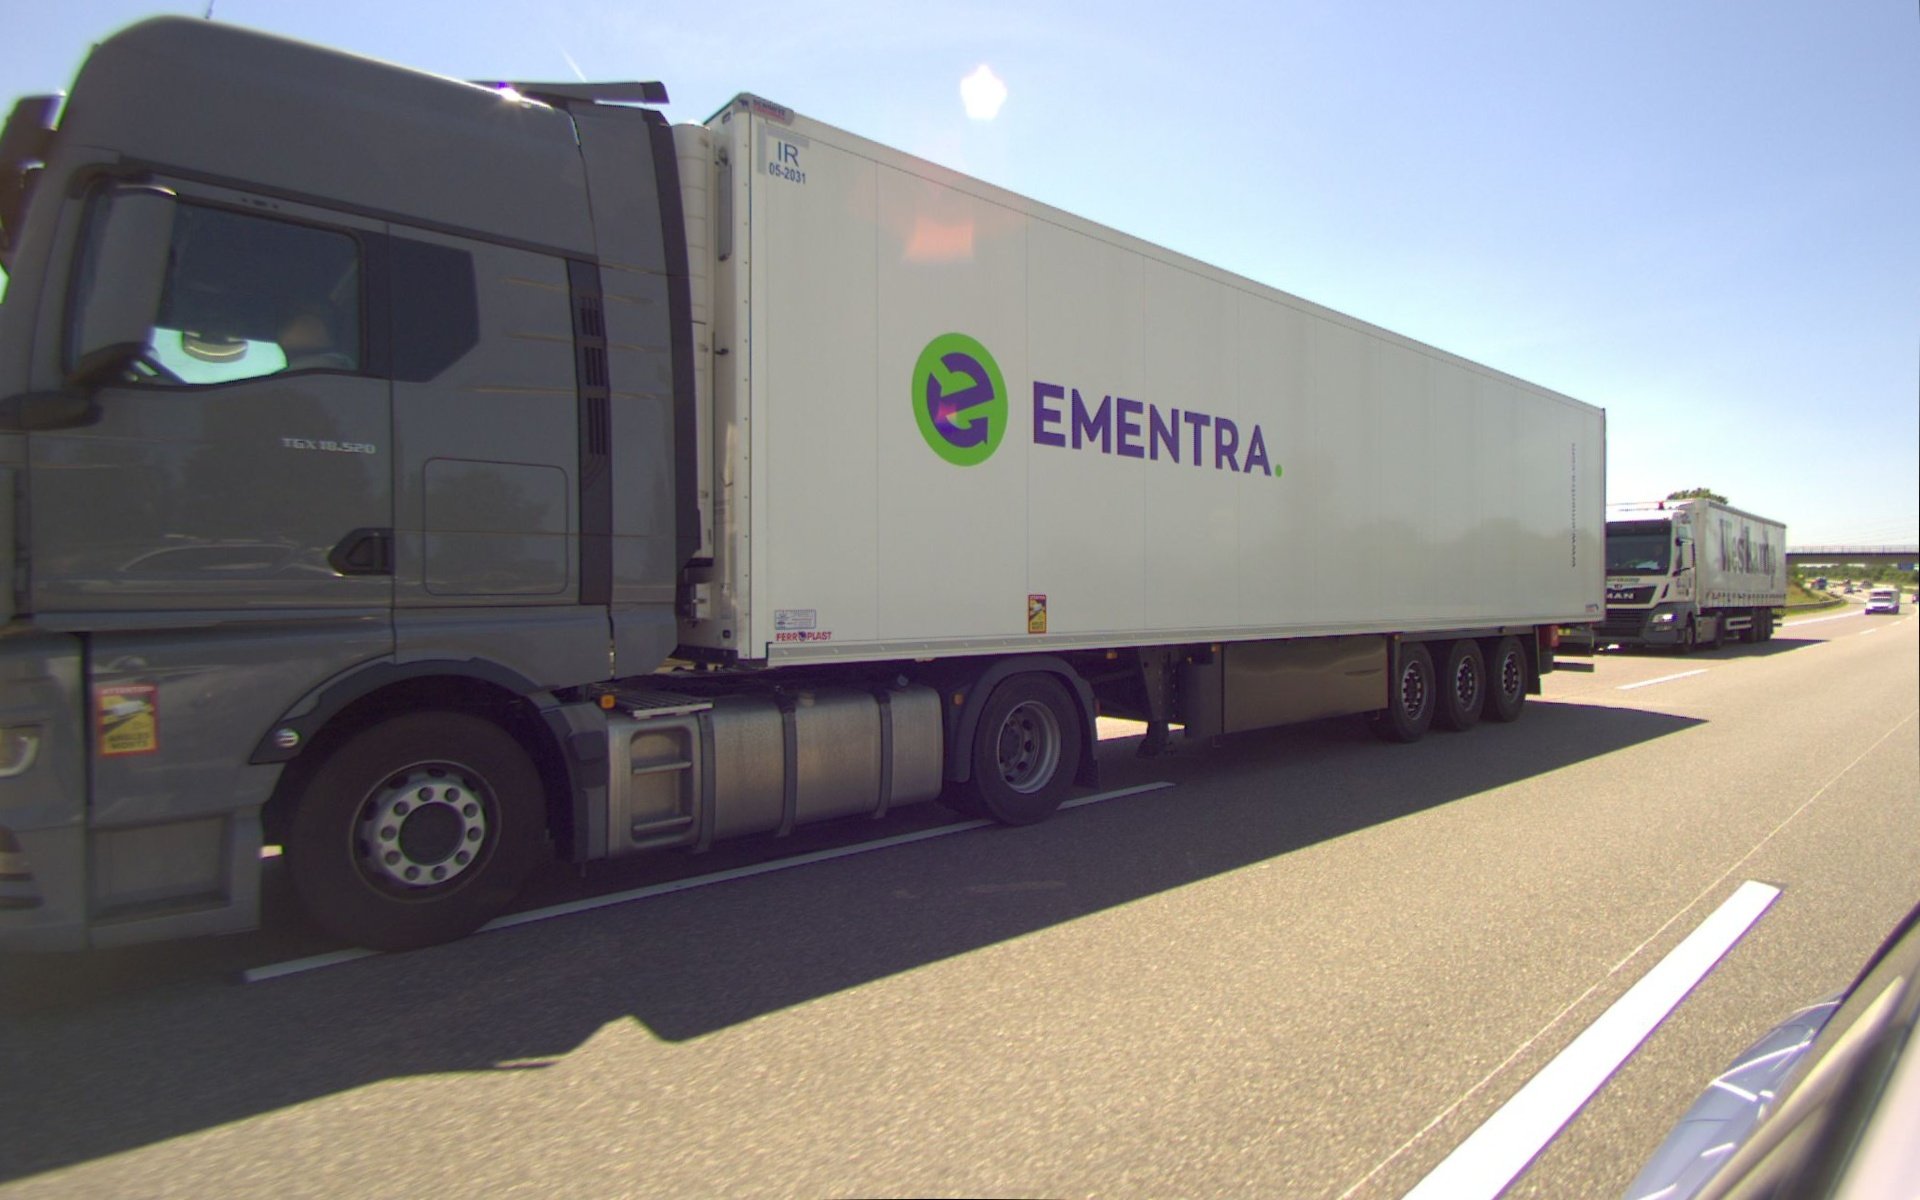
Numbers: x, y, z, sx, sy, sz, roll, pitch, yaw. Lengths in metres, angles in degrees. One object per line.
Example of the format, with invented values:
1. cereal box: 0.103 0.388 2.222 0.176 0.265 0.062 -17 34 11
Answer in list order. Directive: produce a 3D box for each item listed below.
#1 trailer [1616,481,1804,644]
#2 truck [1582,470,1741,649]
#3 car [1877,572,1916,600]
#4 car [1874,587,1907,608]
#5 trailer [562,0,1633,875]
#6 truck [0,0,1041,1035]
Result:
1. trailer: 24.321 -1.064 32.364 13.413 4.305 2.598 -1 0 -44
2. truck: 18.900 -1.009 27.175 5.005 4.310 2.602 0 0 -44
3. car: 78.440 -1.183 84.851 2.180 2.294 4.879 2 2 41
4. car: 73.699 -0.209 80.176 1.778 1.494 3.941 2 2 41
5. trailer: 3.256 -1.050 10.683 13.742 4.716 2.906 -1 0 -41
6. truck: -2.286 -0.795 5.838 4.887 4.310 2.913 0 0 -40
